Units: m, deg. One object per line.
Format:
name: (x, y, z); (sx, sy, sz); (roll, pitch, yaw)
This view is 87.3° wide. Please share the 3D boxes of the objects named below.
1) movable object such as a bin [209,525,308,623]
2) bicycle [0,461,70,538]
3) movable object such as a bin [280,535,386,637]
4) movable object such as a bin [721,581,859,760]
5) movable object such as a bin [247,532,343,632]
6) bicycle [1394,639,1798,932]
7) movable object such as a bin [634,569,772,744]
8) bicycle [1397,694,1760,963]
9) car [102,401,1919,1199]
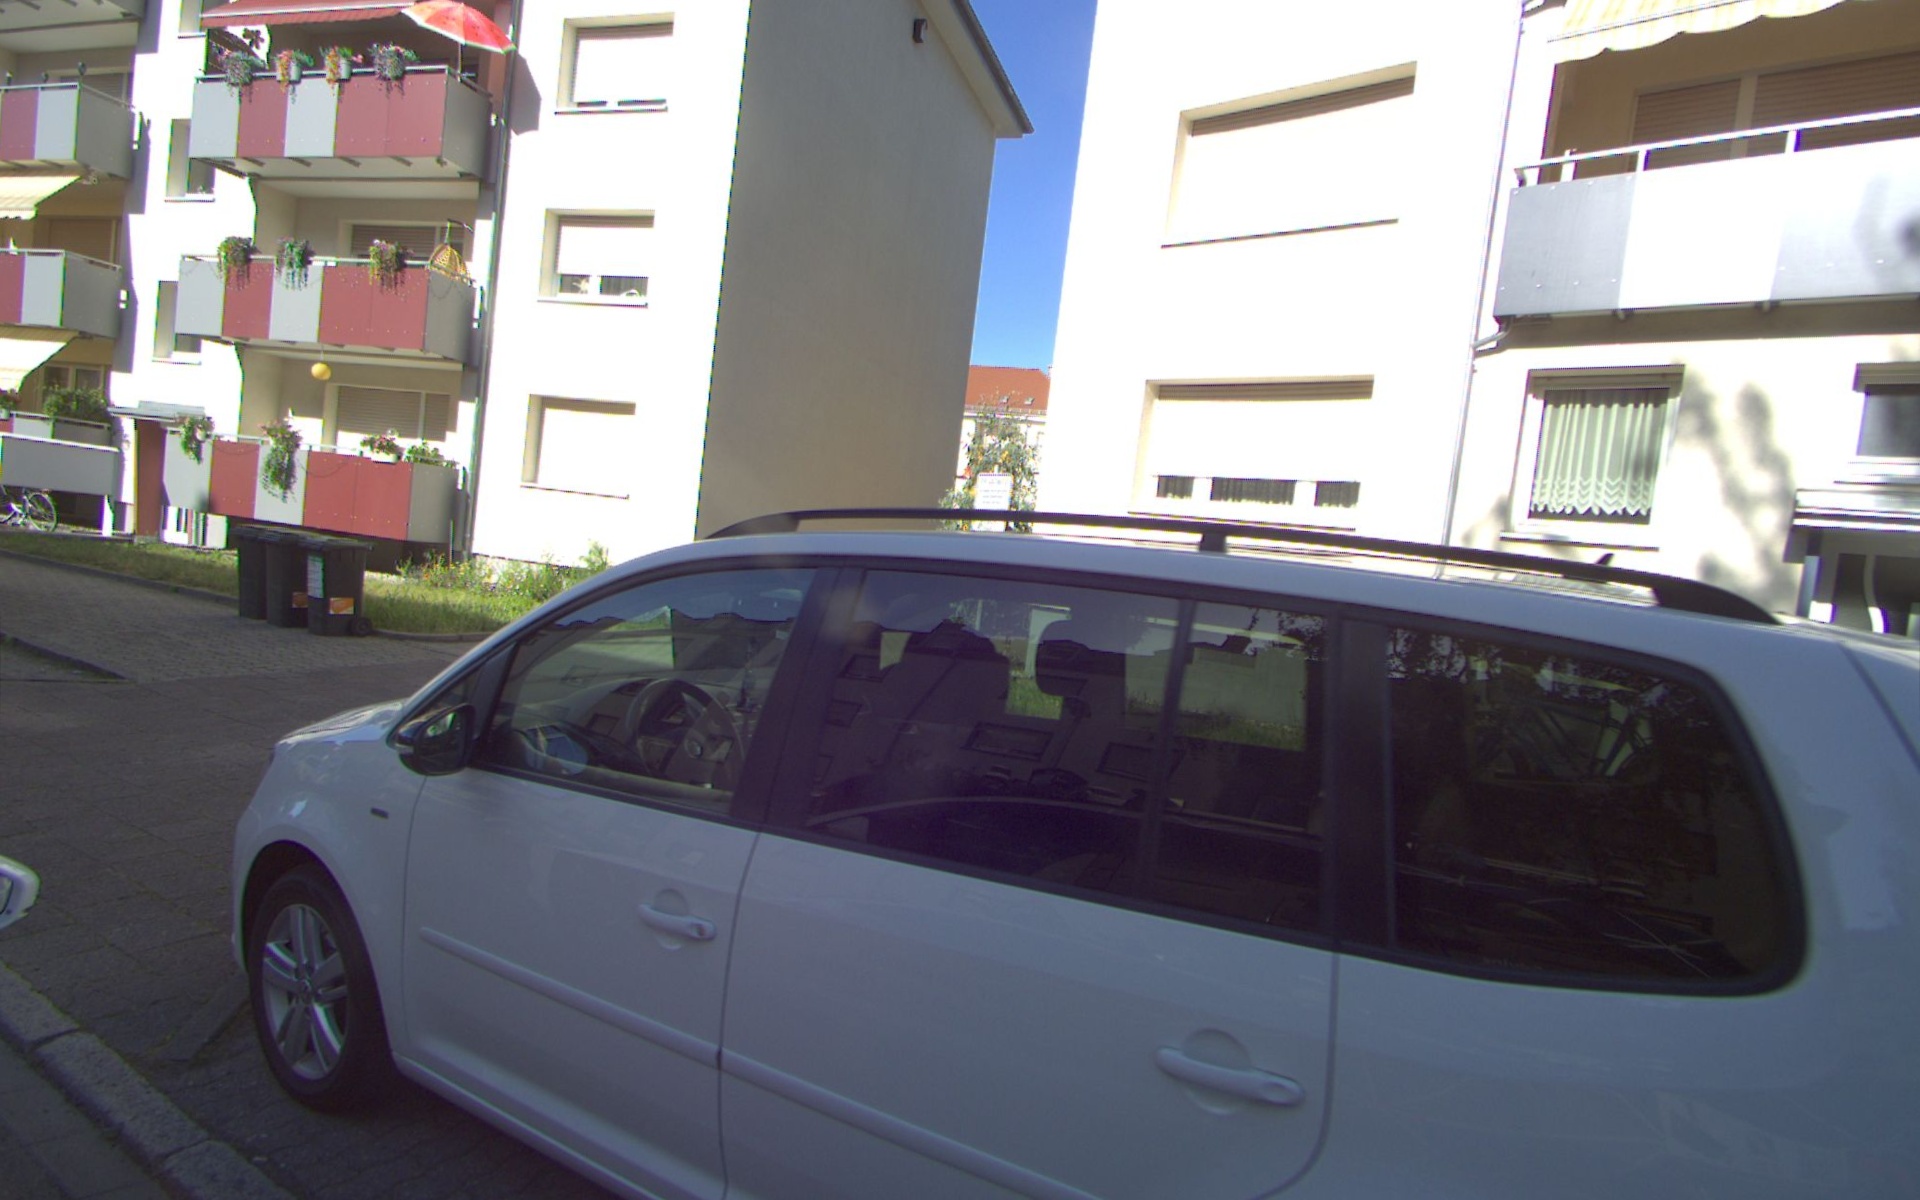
movable object such as a bin: (-7.103, -0.261, 10.191); (0.574, 0.913, 0.584); (7, 4, 24)
bicycle: (-15.728, -1.709, 16.874); (1.729, 1.166, 0.408); (7, 4, 20)
movable object such as a bin: (-6.055, -0.139, 9.729); (0.629, 0.901, 0.584); (7, 4, 24)
movable object such as a bin: (-1.118, 0.431, 6.622); (0.631, 1.071, 0.582); (6, 5, 35)
movable object such as a bin: (-6.575, -0.180, 9.954); (0.508, 0.912, 0.584); (7, 4, 24)
bicycle: (3.497, 0.941, 5.682); (0.512, 1.219, 1.738); (1, 5, -45)
movable object such as a bin: (-1.818, 0.377, 7.114); (0.672, 1.111, 0.583); (8, 5, 35)
bicycle: (3.902, 1.372, 6.474); (1.807, 1.219, 0.513); (8, 5, 41)
car: (-0.198, 0.541, 2.594); (4.315, 1.678, 1.694); (8, 4, 30)
